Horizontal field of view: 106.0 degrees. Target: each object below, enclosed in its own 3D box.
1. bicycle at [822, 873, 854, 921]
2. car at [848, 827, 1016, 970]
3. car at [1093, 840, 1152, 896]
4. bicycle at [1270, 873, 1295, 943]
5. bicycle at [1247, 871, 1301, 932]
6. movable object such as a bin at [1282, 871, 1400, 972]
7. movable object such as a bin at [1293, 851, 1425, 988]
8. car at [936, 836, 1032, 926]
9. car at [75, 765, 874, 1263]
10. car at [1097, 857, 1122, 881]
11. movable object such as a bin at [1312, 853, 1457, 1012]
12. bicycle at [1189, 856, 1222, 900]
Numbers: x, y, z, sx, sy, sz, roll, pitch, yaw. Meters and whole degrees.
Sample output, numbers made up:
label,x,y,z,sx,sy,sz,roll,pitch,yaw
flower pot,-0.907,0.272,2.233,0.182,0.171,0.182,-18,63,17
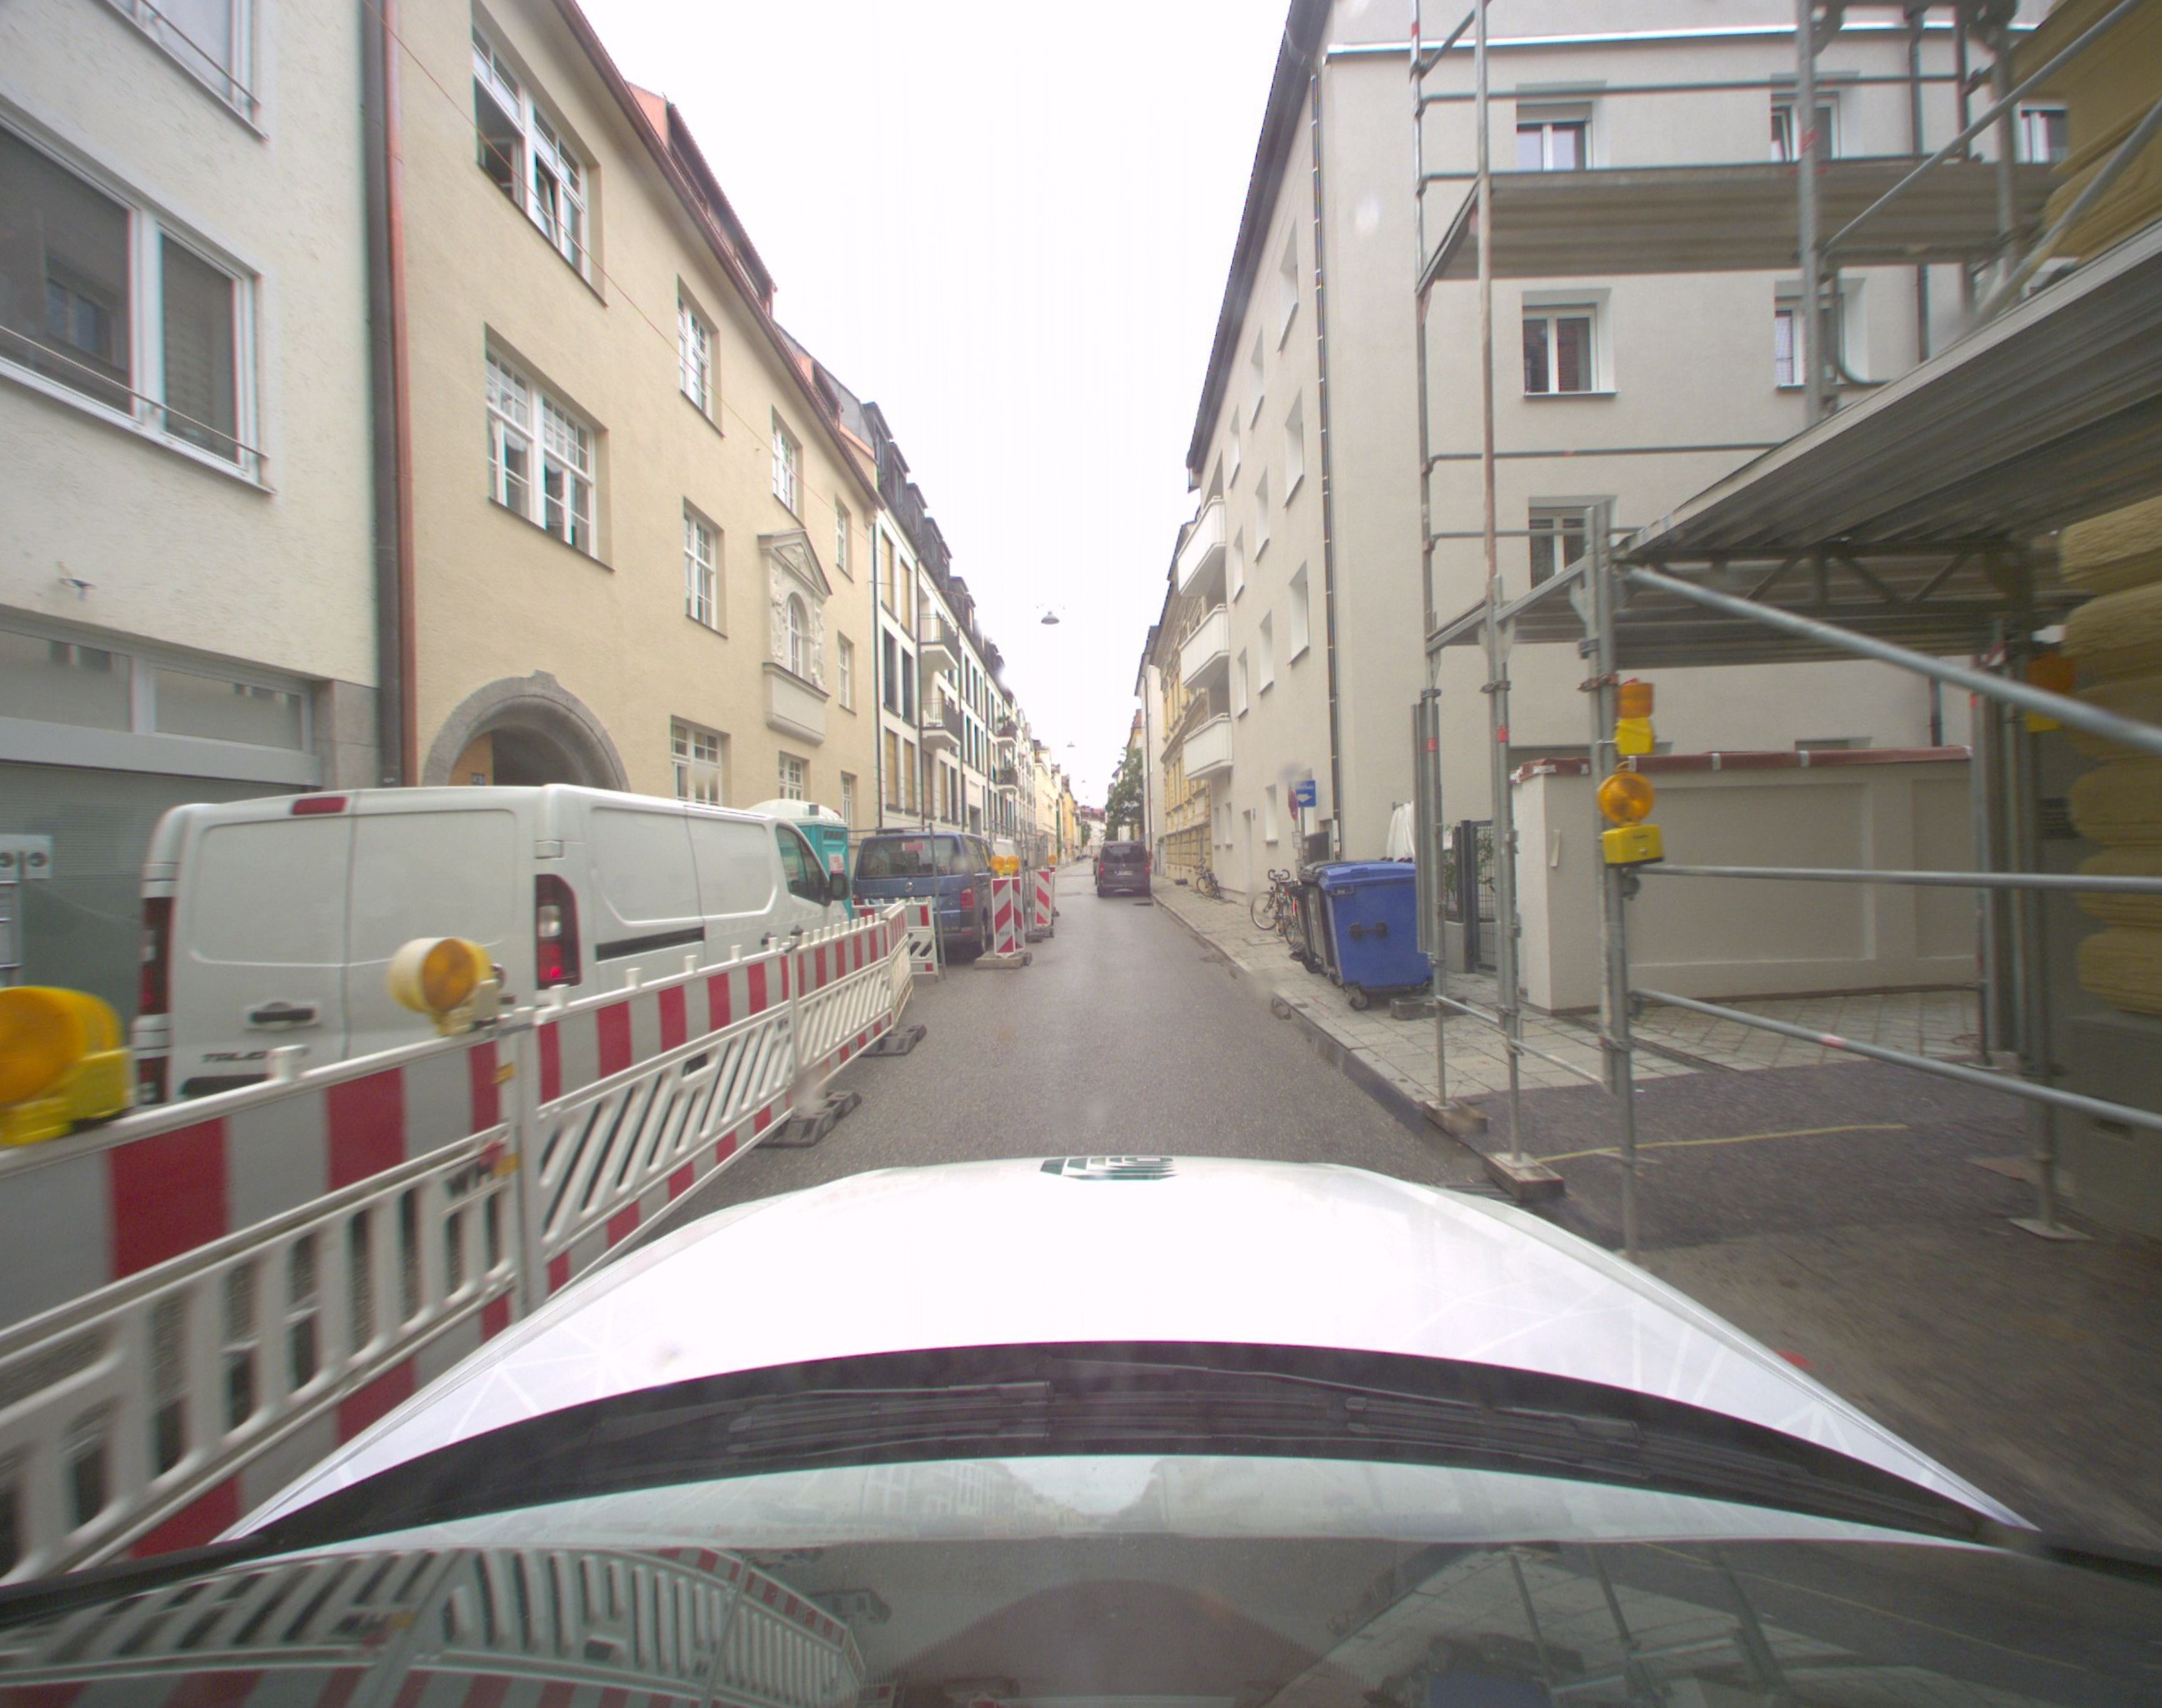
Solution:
label,x,y,z,sx,sy,sz,roll,pitch,yaw
bicycle,-5.668,0.994,19.068,0.302,1.051,1.454,0,0,0
car,-2.300,0.629,14.126,1.721,1.897,5.509,-3,0,1
car,1.465,0.473,30.324,1.987,1.932,4.660,0,0,0
bicycle,3.251,0.842,13.122,0.278,0.991,1.439,-5,0,14
bicycle,3.413,0.823,14.462,0.404,0.991,1.325,-5,0,-8
movable object such as a bin,3.201,0.824,10.137,1.204,1.095,0.791,-5,0,9
movable object such as a bin,3.081,0.696,9.189,1.119,1.345,1.174,-5,0,9
car,-2.255,0.597,20.177,1.900,1.897,5.084,-2,0,-2
car,-3.059,0.652,5.692,1.911,1.897,4.789,-3,0,0
car,2.014,1.051,58.090,1.745,1.636,3.446,-1,0,2
movable object such as a bin,2.898,0.715,7.952,1.079,1.346,1.322,-5,0,13
bicycle,3.580,0.664,23.463,0.635,1.153,1.916,-4,1,2
